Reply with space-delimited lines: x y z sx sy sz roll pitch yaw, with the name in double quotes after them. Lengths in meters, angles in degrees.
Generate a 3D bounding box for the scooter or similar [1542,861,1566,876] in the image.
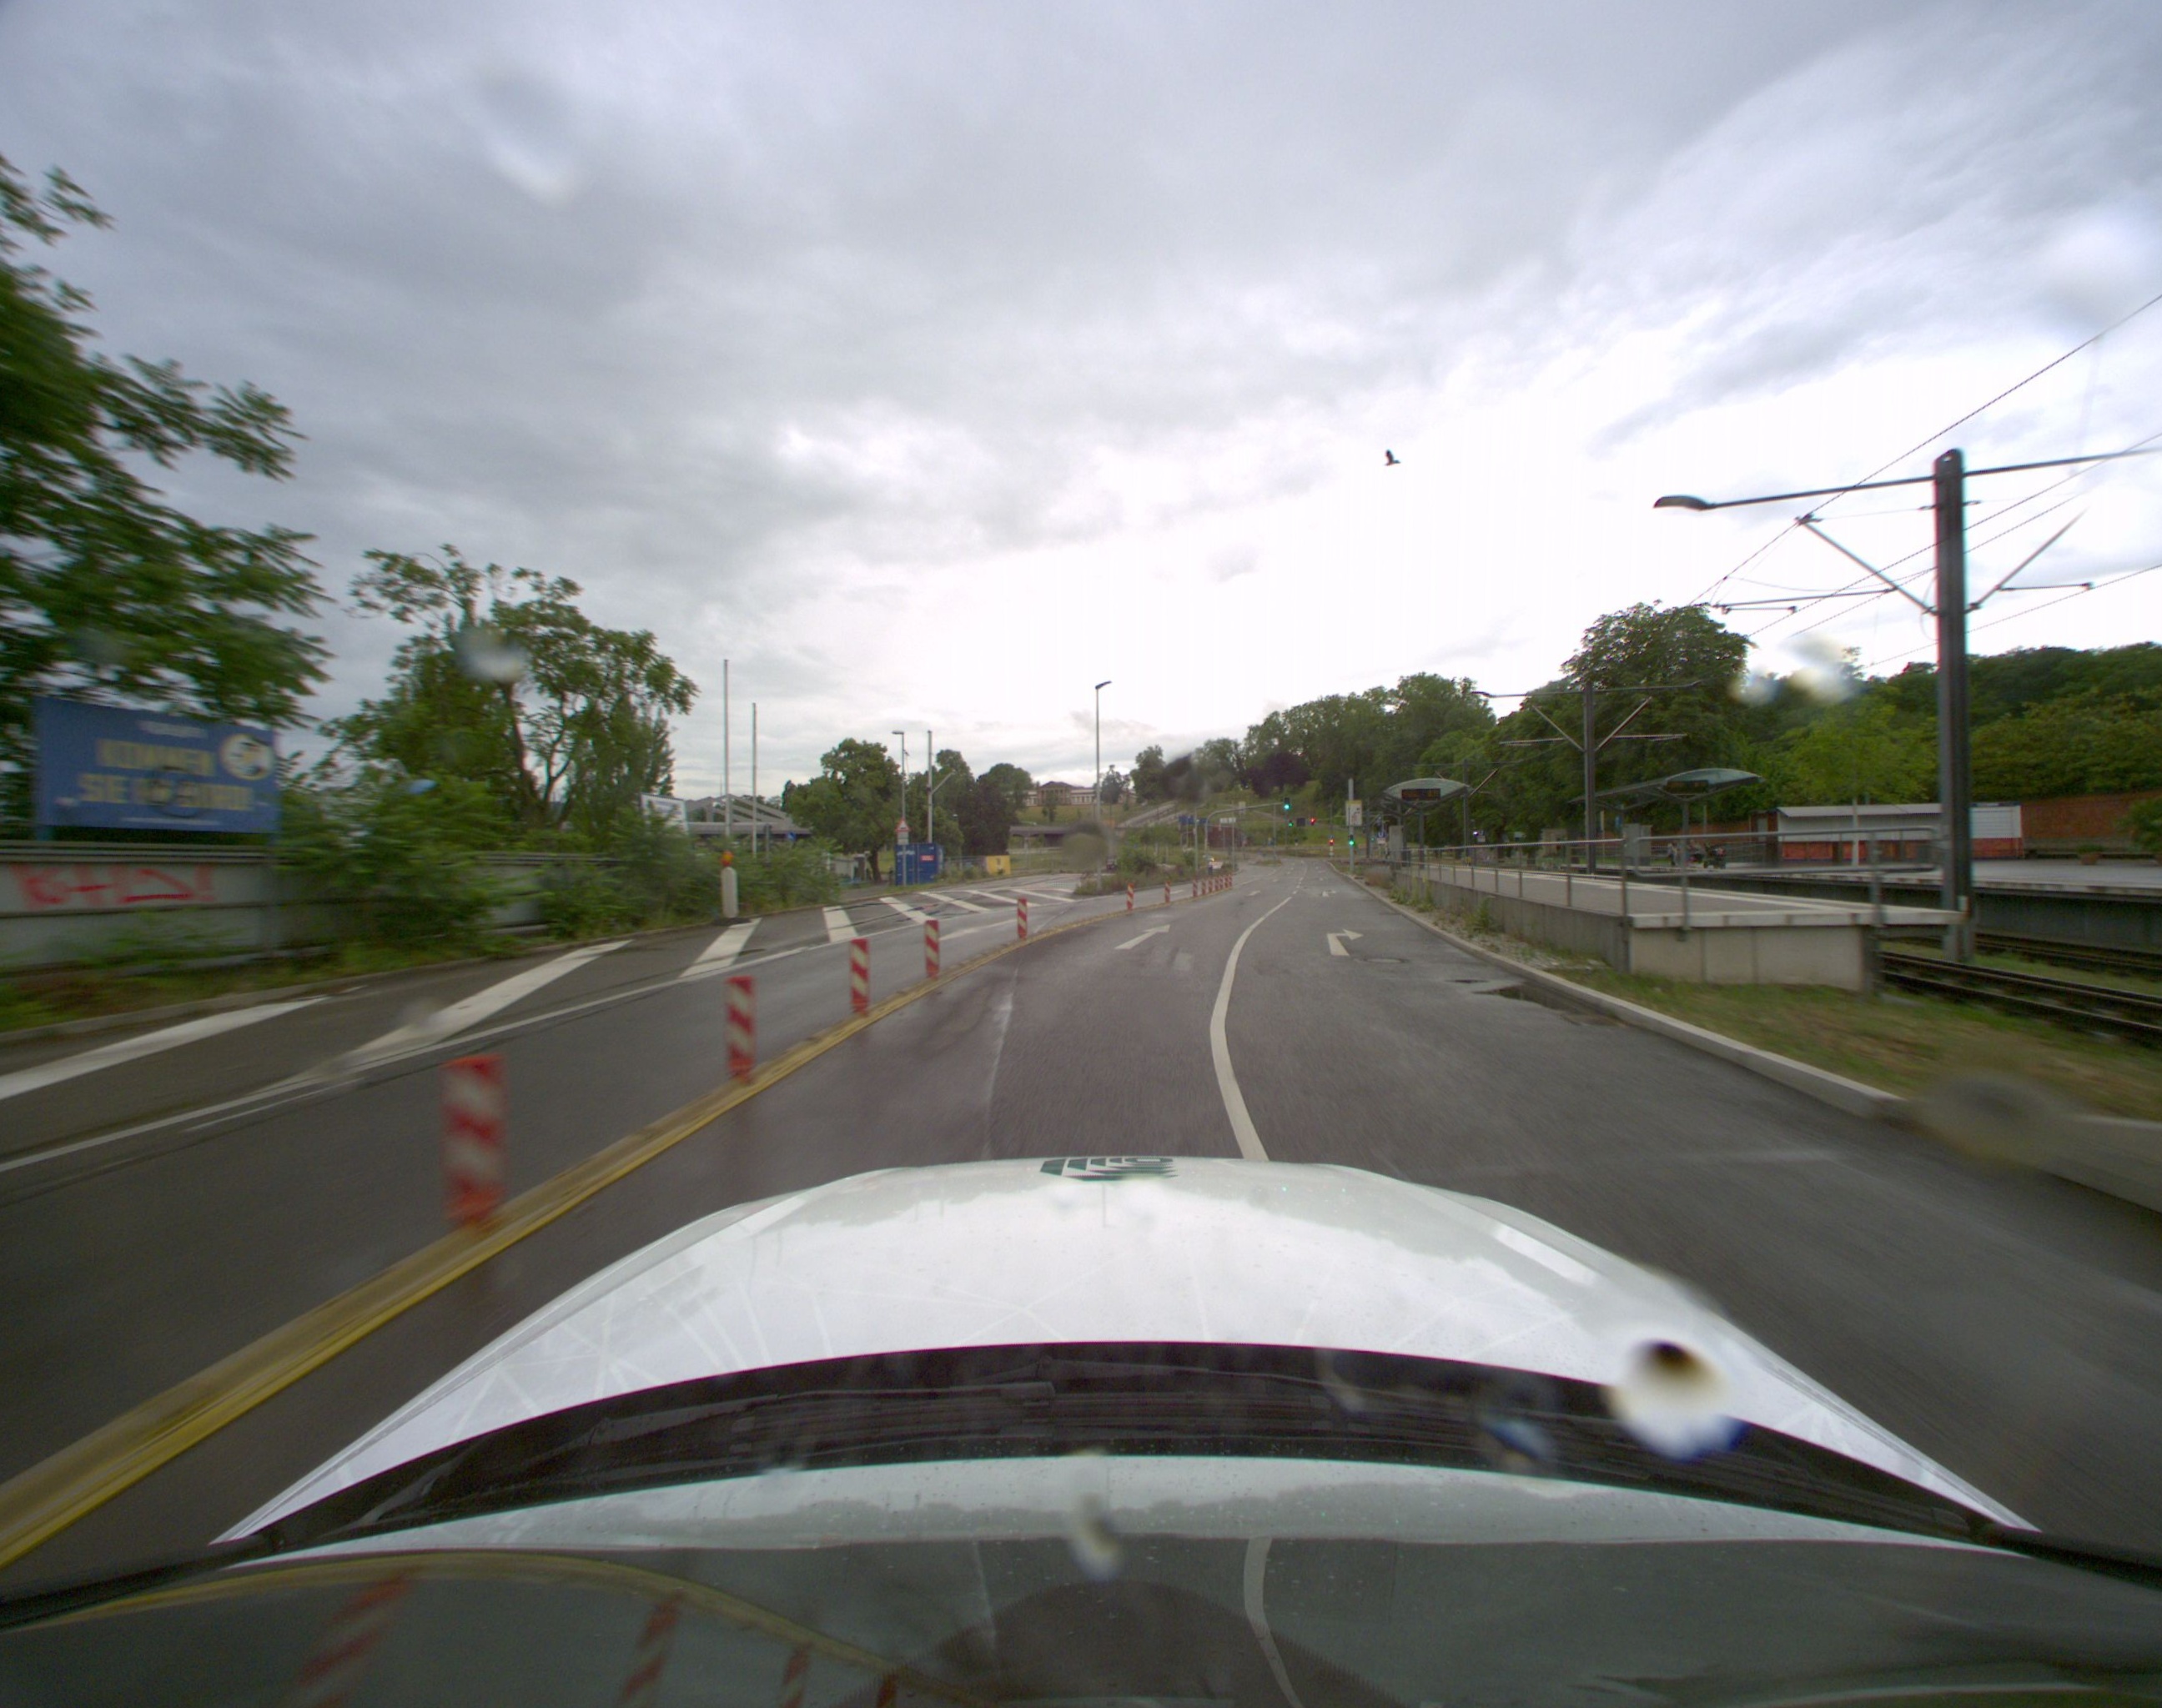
36.691 1.098 63.197 1.532 1.137 0.433 -1 0 14 "scooter or similar"

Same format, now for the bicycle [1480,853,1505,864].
42.338 0.444 83.779 2.207 1.032 0.692 -1 0 13 "bicycle"

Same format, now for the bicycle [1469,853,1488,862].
44.336 0.390 90.804 1.797 1.032 0.655 -1 0 13 "bicycle"

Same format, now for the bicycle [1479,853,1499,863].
42.824 0.430 85.490 1.797 1.032 0.655 -1 0 13 "bicycle"

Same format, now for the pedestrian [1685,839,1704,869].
25.380 0.004 33.682 0.433 1.226 0.553 -1 -1 17 "pedestrian"

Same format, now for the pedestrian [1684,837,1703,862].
24.676 -0.180 32.821 0.433 1.009 0.553 -1 -1 17 "pedestrian"

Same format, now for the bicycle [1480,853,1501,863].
42.537 0.427 84.634 1.797 1.032 0.655 -1 0 13 "bicycle"

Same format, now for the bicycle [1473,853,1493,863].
43.031 0.428 87.128 1.797 1.032 0.655 -1 0 13 "bicycle"

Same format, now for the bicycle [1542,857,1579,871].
35.277 0.719 59.947 2.305 0.957 0.572 -1 0 14 "bicycle"

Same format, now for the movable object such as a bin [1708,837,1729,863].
25.386 -0.141 32.431 0.433 1.009 0.685 -1 -1 17 "movable object such as a bin"

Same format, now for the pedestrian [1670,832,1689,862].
24.663 -0.284 33.566 0.433 1.226 0.553 -1 -1 17 "pedestrian"
